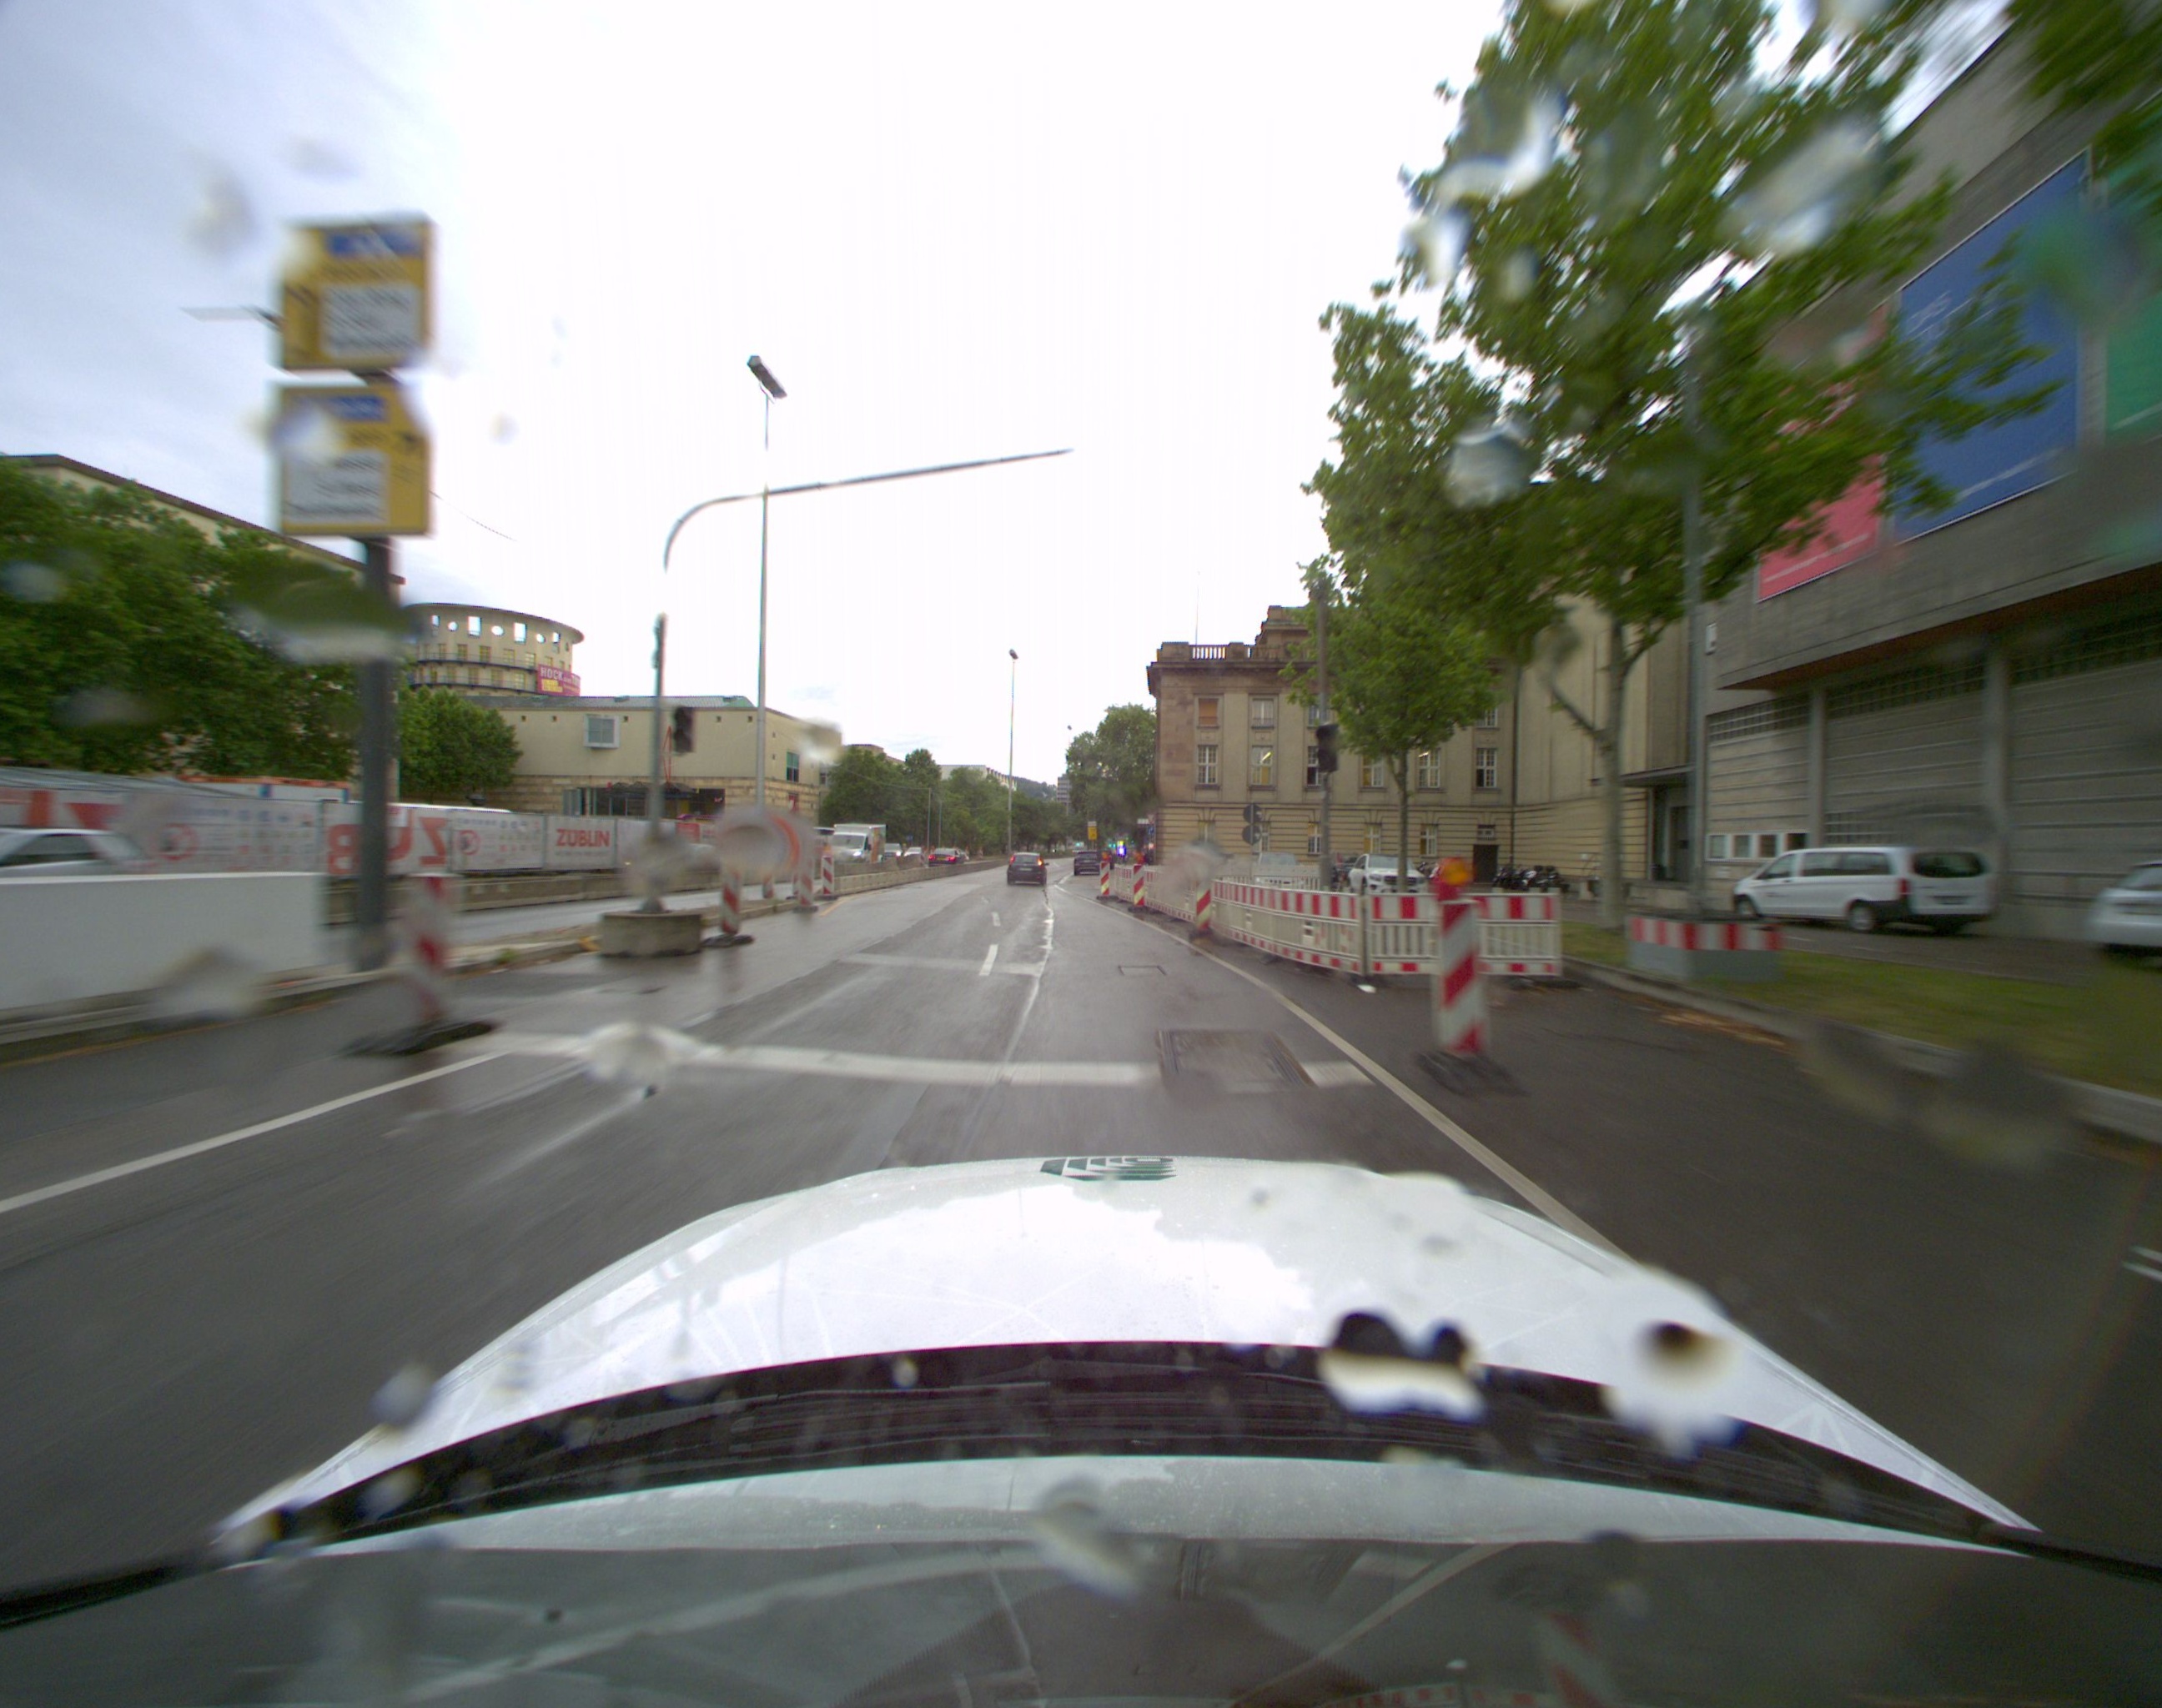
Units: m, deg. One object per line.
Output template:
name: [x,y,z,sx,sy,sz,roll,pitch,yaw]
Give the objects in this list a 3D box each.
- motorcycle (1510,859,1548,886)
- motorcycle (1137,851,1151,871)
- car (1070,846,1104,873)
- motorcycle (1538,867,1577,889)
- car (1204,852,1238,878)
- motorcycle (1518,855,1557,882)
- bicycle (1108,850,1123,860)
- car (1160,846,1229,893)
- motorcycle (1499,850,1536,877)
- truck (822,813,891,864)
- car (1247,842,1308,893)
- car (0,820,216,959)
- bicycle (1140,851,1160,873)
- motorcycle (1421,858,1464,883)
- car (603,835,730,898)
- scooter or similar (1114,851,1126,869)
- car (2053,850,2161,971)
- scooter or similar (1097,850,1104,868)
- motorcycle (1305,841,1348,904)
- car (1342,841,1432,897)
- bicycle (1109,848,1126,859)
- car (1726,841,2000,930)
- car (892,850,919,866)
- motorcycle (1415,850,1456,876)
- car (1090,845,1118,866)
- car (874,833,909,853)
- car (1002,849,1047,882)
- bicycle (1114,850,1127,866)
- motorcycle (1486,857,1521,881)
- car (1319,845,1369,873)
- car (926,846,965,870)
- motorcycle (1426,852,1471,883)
motorcycle: [24.210,0.985,44.007,1.651,1.406,0.737,0,0,8]
motorcycle: [4.150,0.462,53.423,0.802,1.298,1.803,1,0,8]
car: [0.414,0.284,51.049,1.863,1.619,4.409,0,1,4]
motorcycle: [24.356,1.232,41.649,1.651,1.069,0.481,0,0,8]
car: [8.073,0.627,47.149,1.514,1.410,4.132,1,0,4]
motorcycle: [24.012,0.747,42.829,1.651,1.367,0.737,0,0,8]
bicycle: [4.063,0.131,95.326,1.670,1.090,0.652,2,0,6]
car: [3.827,0.520,28.008,1.683,1.494,3.617,1,-1,-3]
motorcycle: [24.286,0.537,45.297,1.651,1.473,0.737,0,0,8]
truck: [-13.015,-0.866,47.809,2.392,2.719,7.346,1,1,-3]
car: [6.299,0.417,26.348,1.573,1.537,3.027,0,0,6]
car: [-15.362,0.475,11.944,1.694,1.868,3.359,0,0,2]
bicycle: [4.284,0.478,50.722,1.098,1.317,1.859,2,0,1]
motorcycle: [19.826,0.904,44.698,1.962,1.197,0.851,5,1,5]
car: [-14.380,0.426,28.629,1.901,2.014,4.760,0,-1,2]
scooter or similar: [2.743,0.419,57.494,0.435,1.293,1.250,2,0,-19]
car: [16.019,0.742,10.883,3.821,1.579,1.780,0,0,3]
scooter or similar: [1.357,0.358,56.271,0.432,1.216,1.122,-1,0,2]
motorcycle: [7.795,0.552,26.012,0.745,1.904,2.593,0,0,3]
car: [9.873,0.442,26.630,1.943,1.684,4.504,0,0,10]
bicycle: [4.302,-0.060,95.751,1.896,1.332,0.652,2,0,6]
car: [17.608,0.628,18.765,1.766,1.787,4.886,0,0,2]
car: [-17.525,0.355,81.656,1.989,1.530,3.996,1,1,-3]
motorcycle: [20.253,0.521,46.515,1.961,1.473,0.888,0,0,5]
car: [2.030,0.147,71.233,1.983,1.781,4.196,2,0,7]
car: [-15.389,-0.897,66.279,1.916,1.530,4.756,1,1,-3]
car: [-2.615,0.516,36.911,1.842,1.416,3.830,0,-1,-7]
bicycle: [3.086,0.335,63.851,0.775,1.218,1.961,0,0,-6]
motorcycle: [24.351,0.861,46.992,1.651,1.338,0.737,0,0,8]
car: [15.165,0.242,47.097,1.809,1.539,4.515,0,1,5]
car: [-8.609,0.261,51.957,1.748,1.451,4.000,0,0,0]
motorcycle: [19.694,0.705,43.659,1.961,1.544,0.851,2,1,5]
